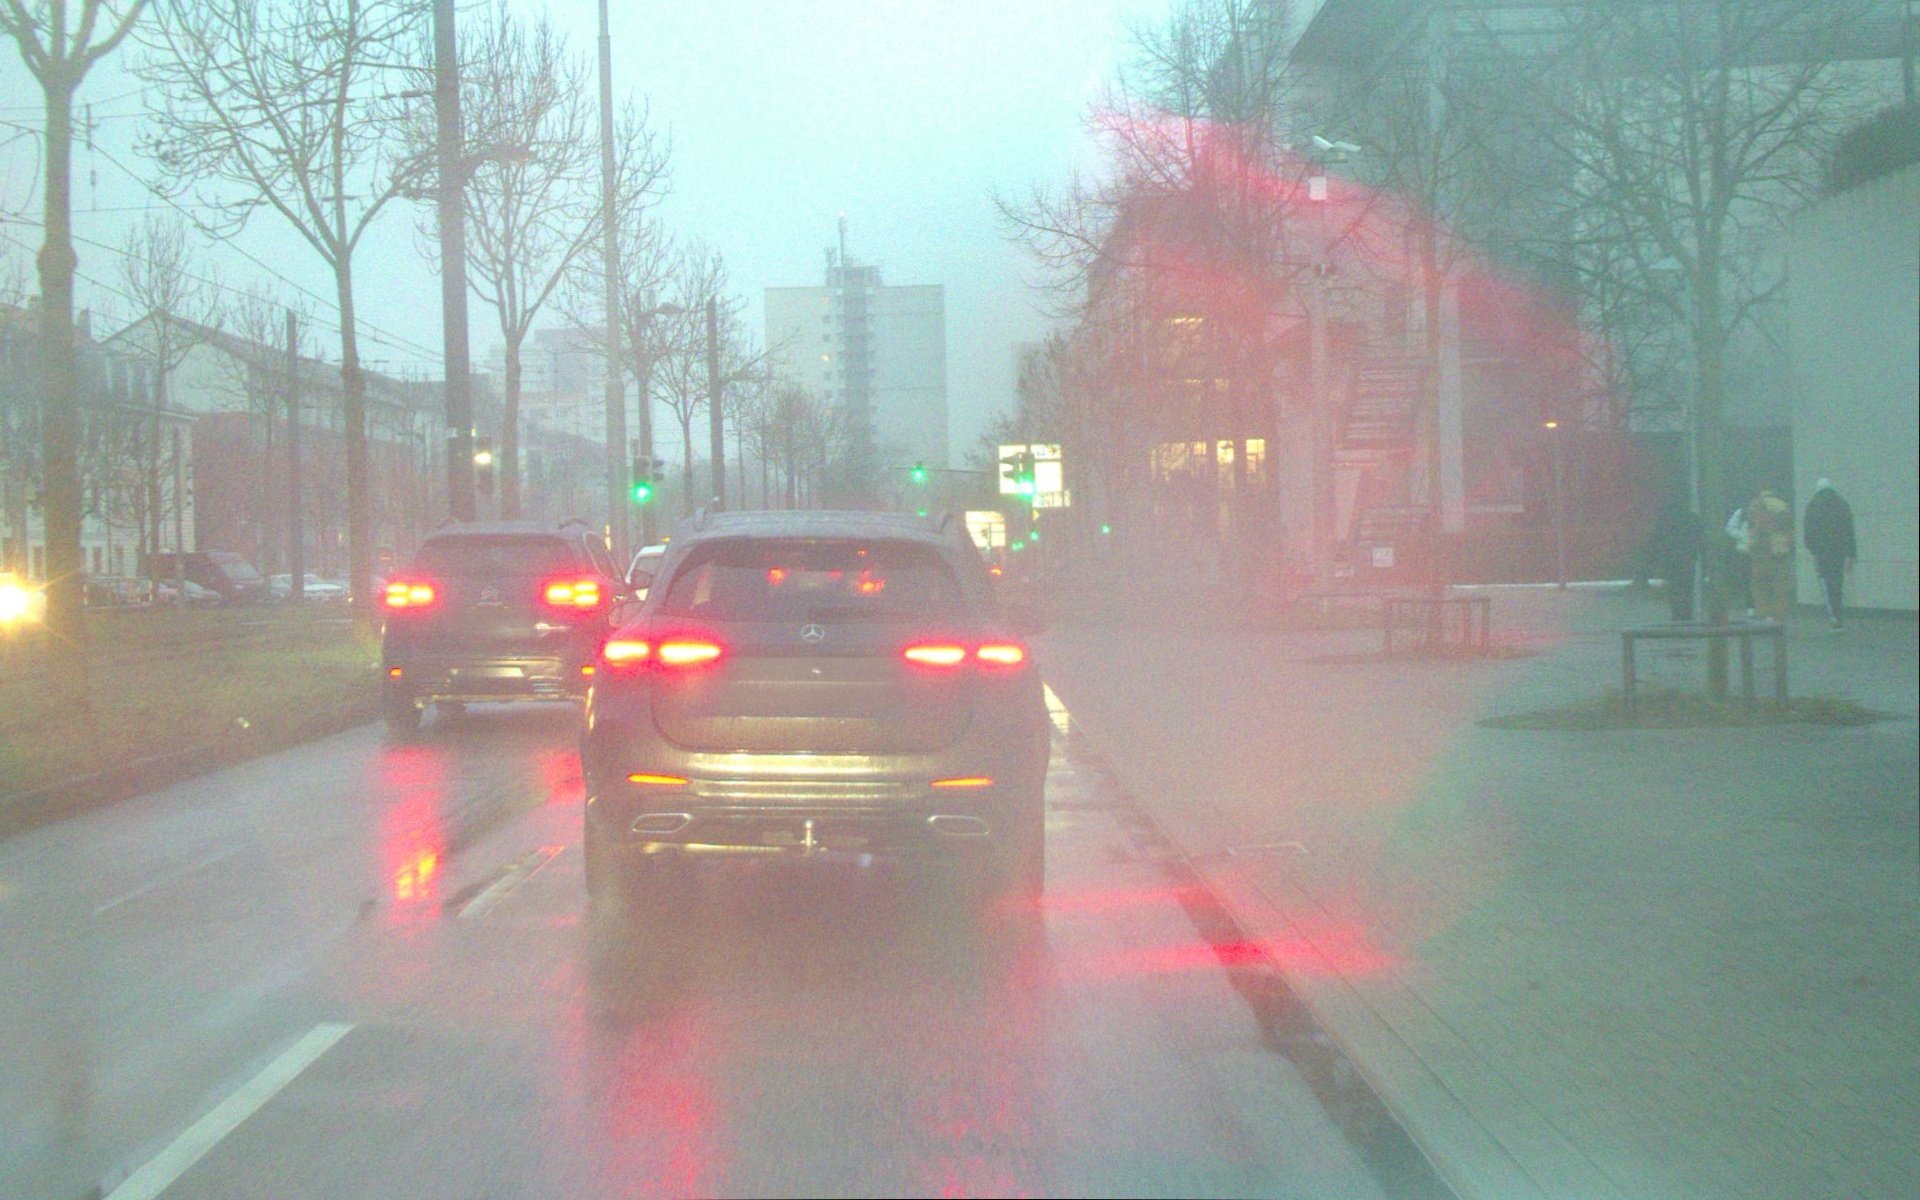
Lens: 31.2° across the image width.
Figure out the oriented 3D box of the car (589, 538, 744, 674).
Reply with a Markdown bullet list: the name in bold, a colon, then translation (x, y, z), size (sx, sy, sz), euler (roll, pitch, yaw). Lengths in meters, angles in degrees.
- **car**: translation (-3.650, 0.049, 43.230), size (1.689, 1.630, 3.474), euler (0, 1, -1)

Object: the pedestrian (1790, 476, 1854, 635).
- **pedestrian**: translation (9.692, -0.506, 38.659), size (0.673, 1.772, 0.614), euler (0, 1, 13)

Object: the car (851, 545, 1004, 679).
- **car**: translation (-0.423, 0.121, 43.587), size (1.854, 1.630, 3.474), euler (0, 1, -1)

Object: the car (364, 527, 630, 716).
- **car**: translation (-3.741, 0.138, 28.358), size (1.817, 1.445, 4.000), euler (0, 1, -3)

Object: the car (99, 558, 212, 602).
- **car**: translation (-29.166, -0.738, 124.568), size (3.843, 1.583, 1.739), euler (1, 1, 31)

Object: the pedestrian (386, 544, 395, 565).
- **pedestrian**: translation (-31.848, -2.561, 192.172), size (0.345, 1.180, 0.434), euler (0, 0, -41)

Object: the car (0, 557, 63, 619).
- **car**: translation (-23.435, -0.310, 84.892), size (1.545, 1.499, 3.784), euler (0, 1, 0)

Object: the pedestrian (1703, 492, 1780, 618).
- **pedestrian**: translation (10.458, -0.599, 46.030), size (0.667, 1.649, 0.995), euler (-2, 0, -6)

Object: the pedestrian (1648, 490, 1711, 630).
- **pedestrian**: translation (8.413, -0.466, 40.192), size (0.673, 1.619, 0.614), euler (0, 1, 15)

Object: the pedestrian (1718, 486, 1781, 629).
- **pedestrian**: translation (8.930, -0.484, 38.890), size (0.673, 1.606, 0.614), euler (0, 1, 13)

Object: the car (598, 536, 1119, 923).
- **car**: translation (-0.416, 0.482, 15.040), size (1.993, 1.478, 3.700), euler (0, 0, -1)
